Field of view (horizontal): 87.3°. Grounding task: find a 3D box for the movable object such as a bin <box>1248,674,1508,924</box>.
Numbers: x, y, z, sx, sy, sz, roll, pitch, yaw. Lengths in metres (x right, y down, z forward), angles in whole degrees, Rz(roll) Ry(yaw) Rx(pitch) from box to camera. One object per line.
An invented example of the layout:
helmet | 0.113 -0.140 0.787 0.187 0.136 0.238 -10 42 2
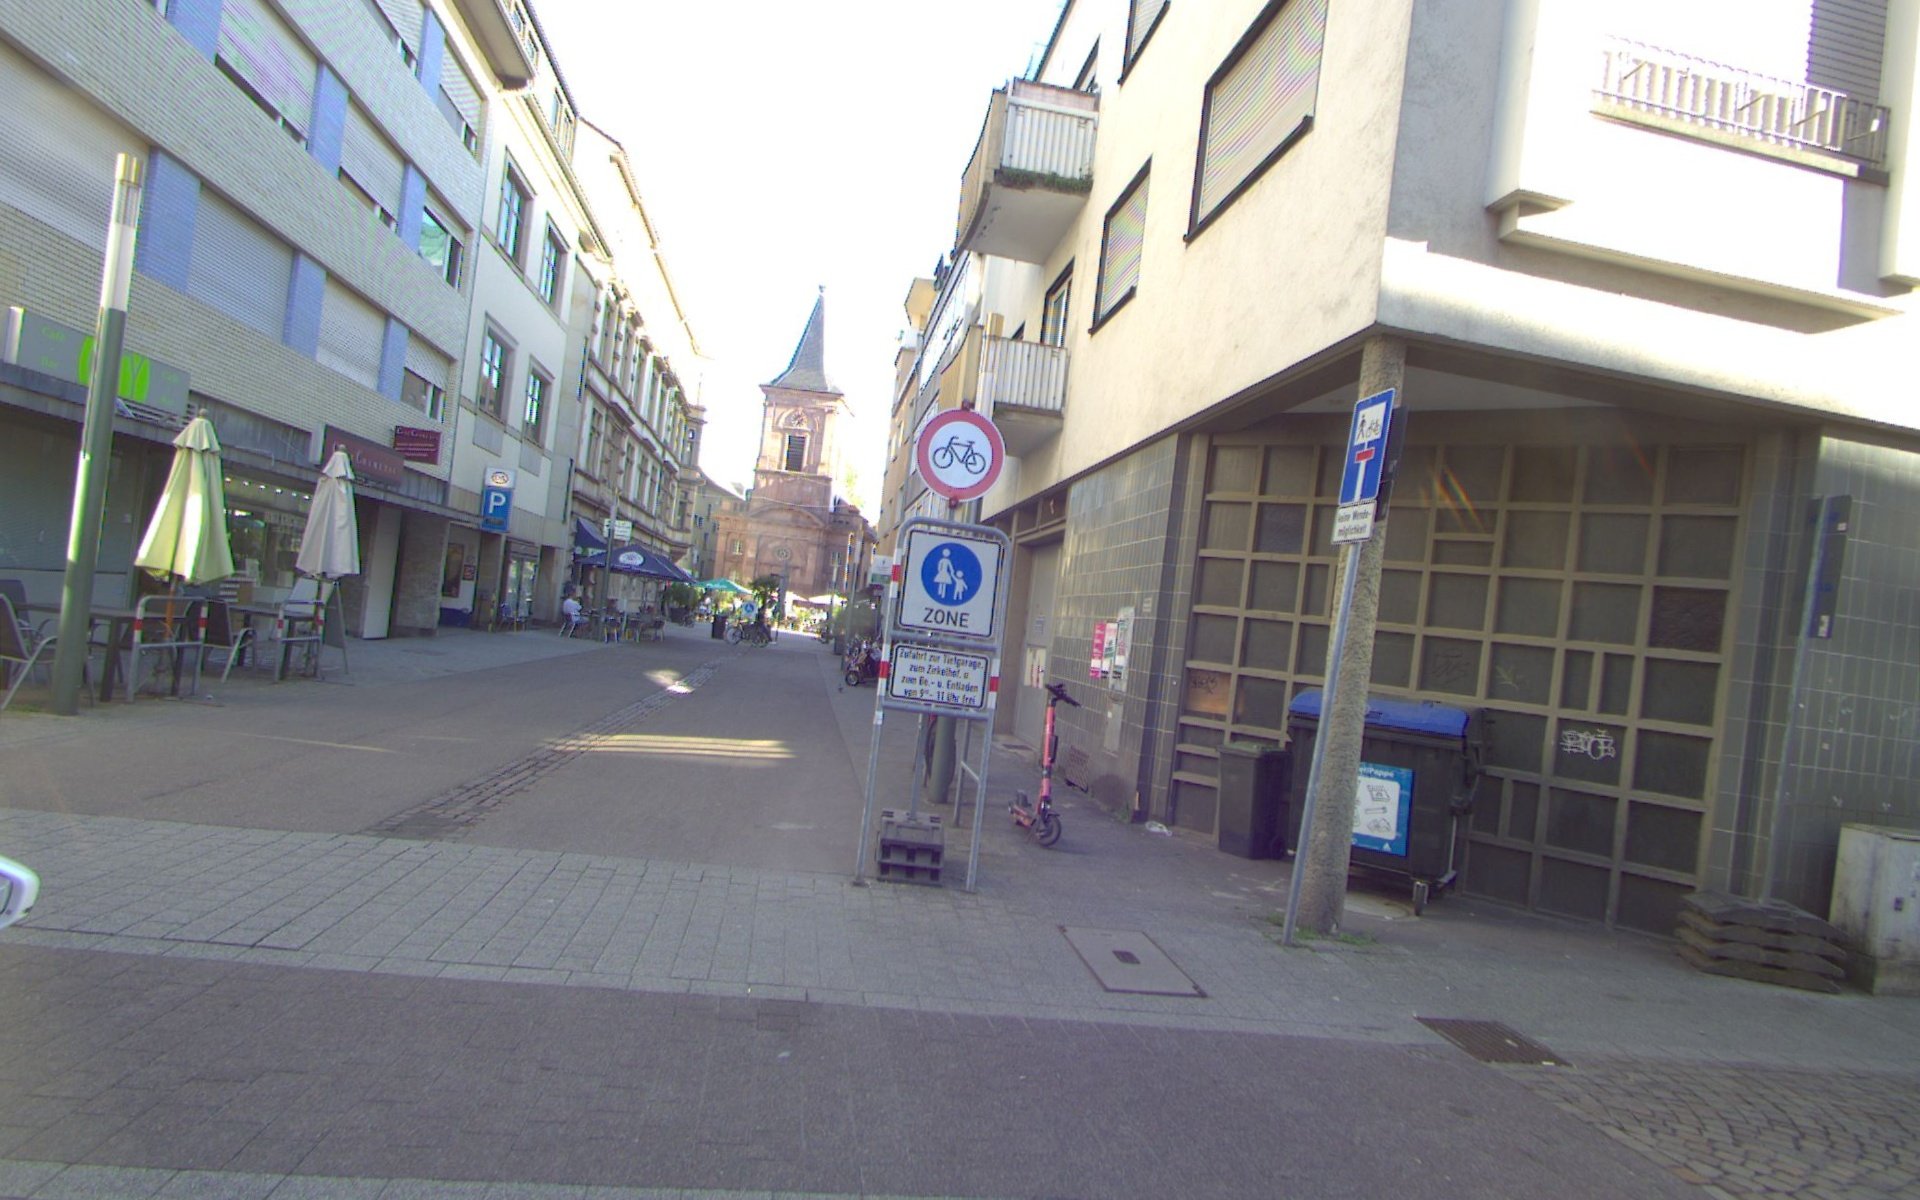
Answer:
movable object such as a bin | 3.125 1.402 7.519 1.414 1.480 1.125 6 -1 39

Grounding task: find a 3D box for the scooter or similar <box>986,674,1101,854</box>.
scooter or similar | 0.649 1.279 8.139 0.490 1.237 1.161 7 -1 -11

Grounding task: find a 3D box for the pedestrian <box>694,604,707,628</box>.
pedestrian | -16.989 1.033 65.891 0.619 1.467 0.794 7 -1 -17

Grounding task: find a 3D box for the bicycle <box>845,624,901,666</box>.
bicycle | -3.505 1.833 40.721 2.102 1.360 0.591 7 -9 -5

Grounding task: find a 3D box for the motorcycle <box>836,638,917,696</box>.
motorcycle | -2.023 1.614 24.349 1.668 1.168 0.794 7 -1 13

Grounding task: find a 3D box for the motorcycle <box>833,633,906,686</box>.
motorcycle | -2.456 1.616 27.333 1.750 1.187 0.555 7 -1 9

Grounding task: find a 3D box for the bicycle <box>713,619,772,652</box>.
bicycle | -8.731 1.433 40.417 2.131 0.995 0.816 9 -1 -7

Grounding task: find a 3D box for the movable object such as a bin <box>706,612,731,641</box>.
movable object such as a bin | -10.492 1.135 43.709 0.890 1.137 0.779 7 -1 -12

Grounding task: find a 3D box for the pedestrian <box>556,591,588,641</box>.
pedestrian | -11.337 0.466 29.406 0.656 1.371 0.549 7 -1 -15

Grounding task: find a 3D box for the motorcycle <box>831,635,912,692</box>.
motorcycle | -2.247 1.592 25.466 1.868 1.187 0.629 6 -1 29

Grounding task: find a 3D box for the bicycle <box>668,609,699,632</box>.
bicycle | -14.211 1.039 51.747 1.372 1.015 0.507 6 -1 20

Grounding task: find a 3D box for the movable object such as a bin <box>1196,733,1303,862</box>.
movable object such as a bin | 2.432 1.628 8.433 0.588 0.937 0.605 6 -1 39

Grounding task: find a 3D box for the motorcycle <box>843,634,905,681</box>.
motorcycle | -2.571 1.720 30.107 1.660 1.187 0.513 7 -1 2

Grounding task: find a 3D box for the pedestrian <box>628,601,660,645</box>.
pedestrian | -10.464 0.753 33.311 0.751 1.371 0.550 7 -1 -6

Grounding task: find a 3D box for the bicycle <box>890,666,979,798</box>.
bicycle | -0.306 1.325 10.572 0.670 1.139 1.893 7 -3 -5

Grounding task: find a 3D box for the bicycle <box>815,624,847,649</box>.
bicycle | -6.812 1.930 53.201 0.403 1.167 1.816 6 -2 38

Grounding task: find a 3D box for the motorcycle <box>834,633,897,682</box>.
motorcycle | -2.734 1.661 29.094 1.662 1.187 0.513 8 -1 -4

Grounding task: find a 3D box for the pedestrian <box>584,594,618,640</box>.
pedestrian | -11.479 0.558 32.188 0.751 1.371 0.550 7 -1 -6

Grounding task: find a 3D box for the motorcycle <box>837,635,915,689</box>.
motorcycle | -2.207 1.620 26.333 1.876 1.187 0.543 7 -1 23

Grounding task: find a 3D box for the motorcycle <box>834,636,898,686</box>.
motorcycle | -2.630 1.712 28.192 1.662 1.187 0.596 8 -1 -5
